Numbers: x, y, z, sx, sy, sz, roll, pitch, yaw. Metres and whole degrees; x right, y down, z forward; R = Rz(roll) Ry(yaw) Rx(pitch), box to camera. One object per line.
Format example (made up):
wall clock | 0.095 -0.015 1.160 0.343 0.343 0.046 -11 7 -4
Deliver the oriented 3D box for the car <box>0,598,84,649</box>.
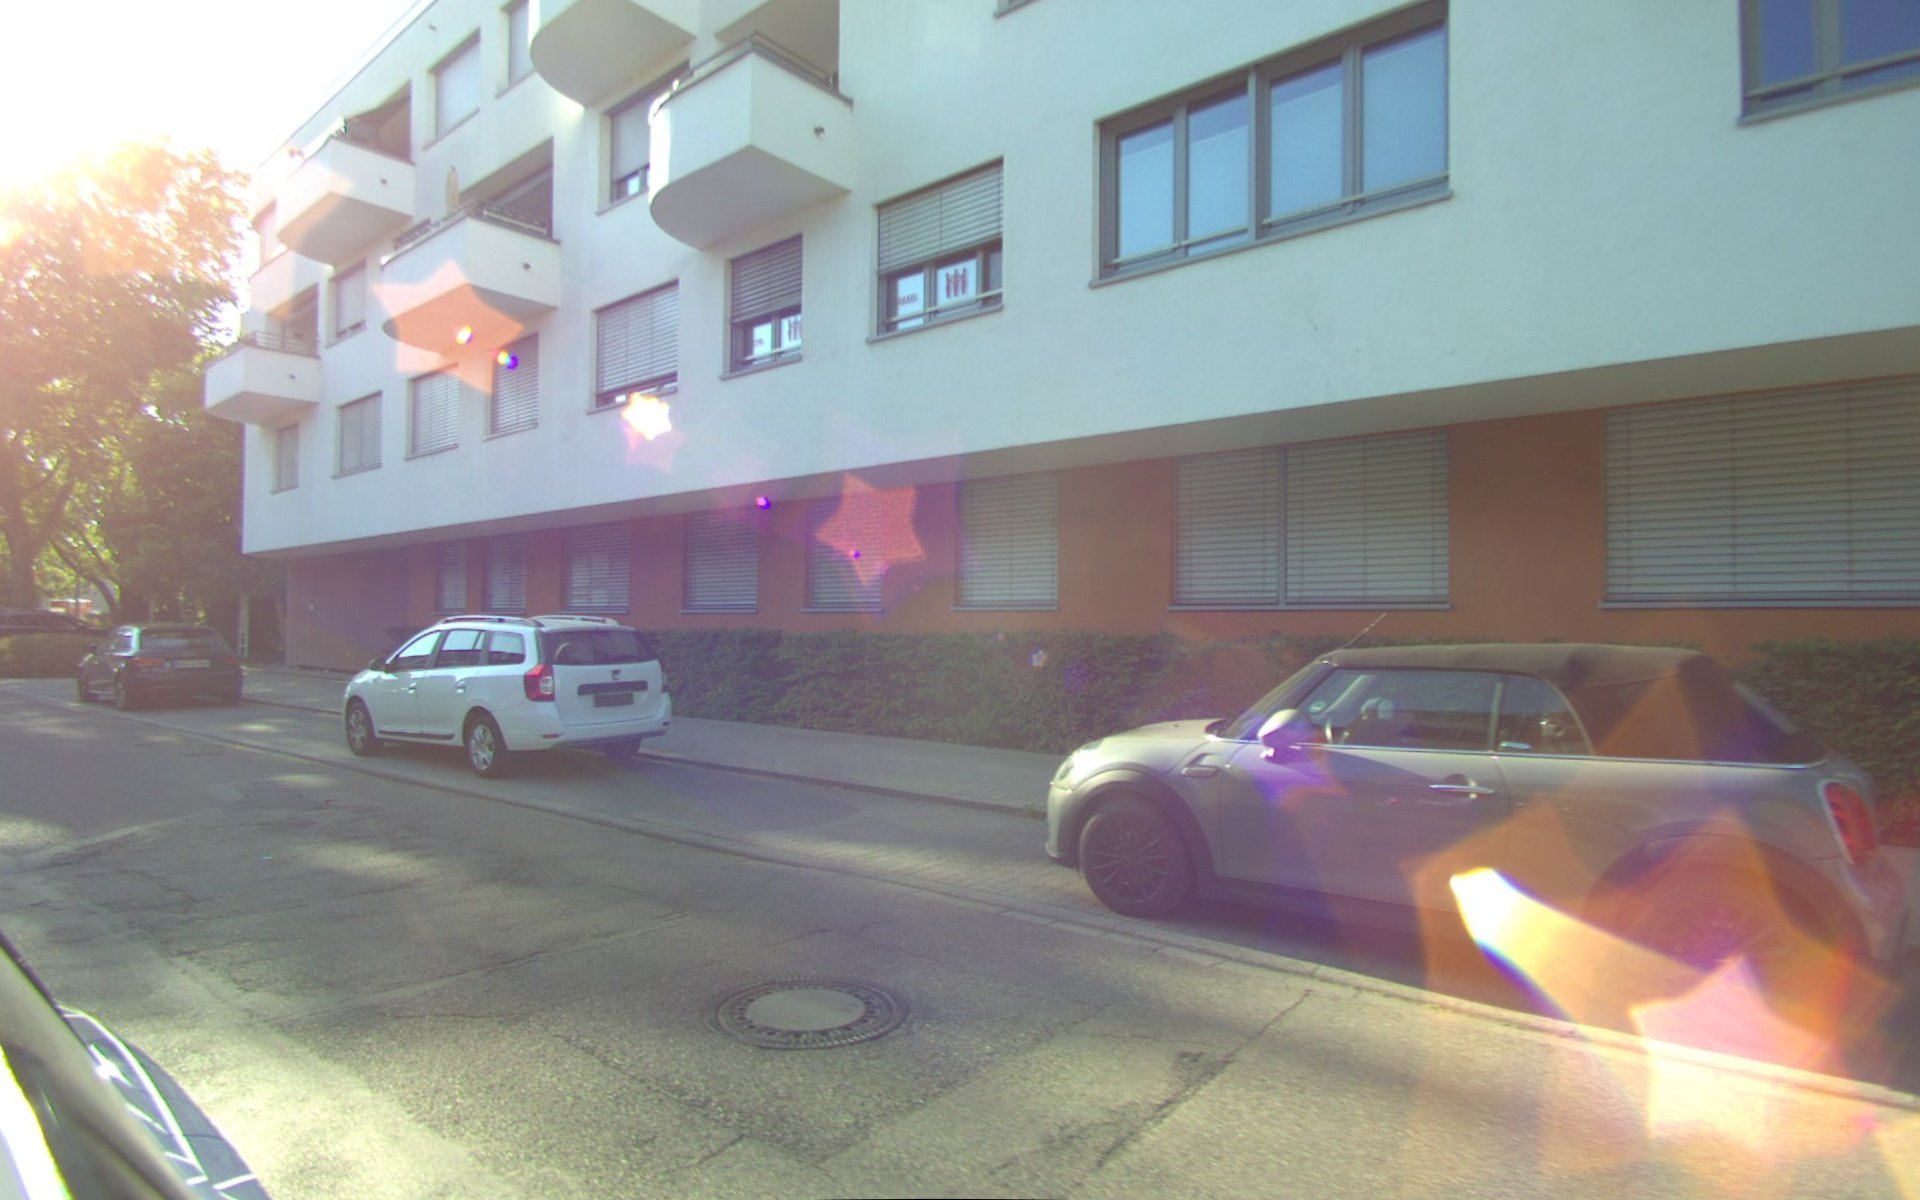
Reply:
car | -37.017 0.911 39.254 1.888 1.788 4.250 0 2 14

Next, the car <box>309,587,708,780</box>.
car | -5.031 0.715 11.035 4.611 1.598 1.842 1 4 35

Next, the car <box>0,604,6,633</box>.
car | -56.156 1.103 56.407 1.786 1.636 3.970 0 2 23

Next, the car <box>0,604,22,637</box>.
car | -51.201 1.140 52.378 1.633 1.673 3.638 0 2 11

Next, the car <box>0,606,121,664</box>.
car | -30.631 1.125 33.538 1.759 1.652 4.123 0 2 13

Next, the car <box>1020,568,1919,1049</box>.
car | 2.363 0.655 5.029 3.851 1.547 1.652 1 4 38

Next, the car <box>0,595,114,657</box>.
car | -28.394 0.773 30.760 1.681 1.674 3.949 0 2 10

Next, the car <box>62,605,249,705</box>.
car | -14.298 0.886 17.934 3.764 1.444 1.659 1 4 37
